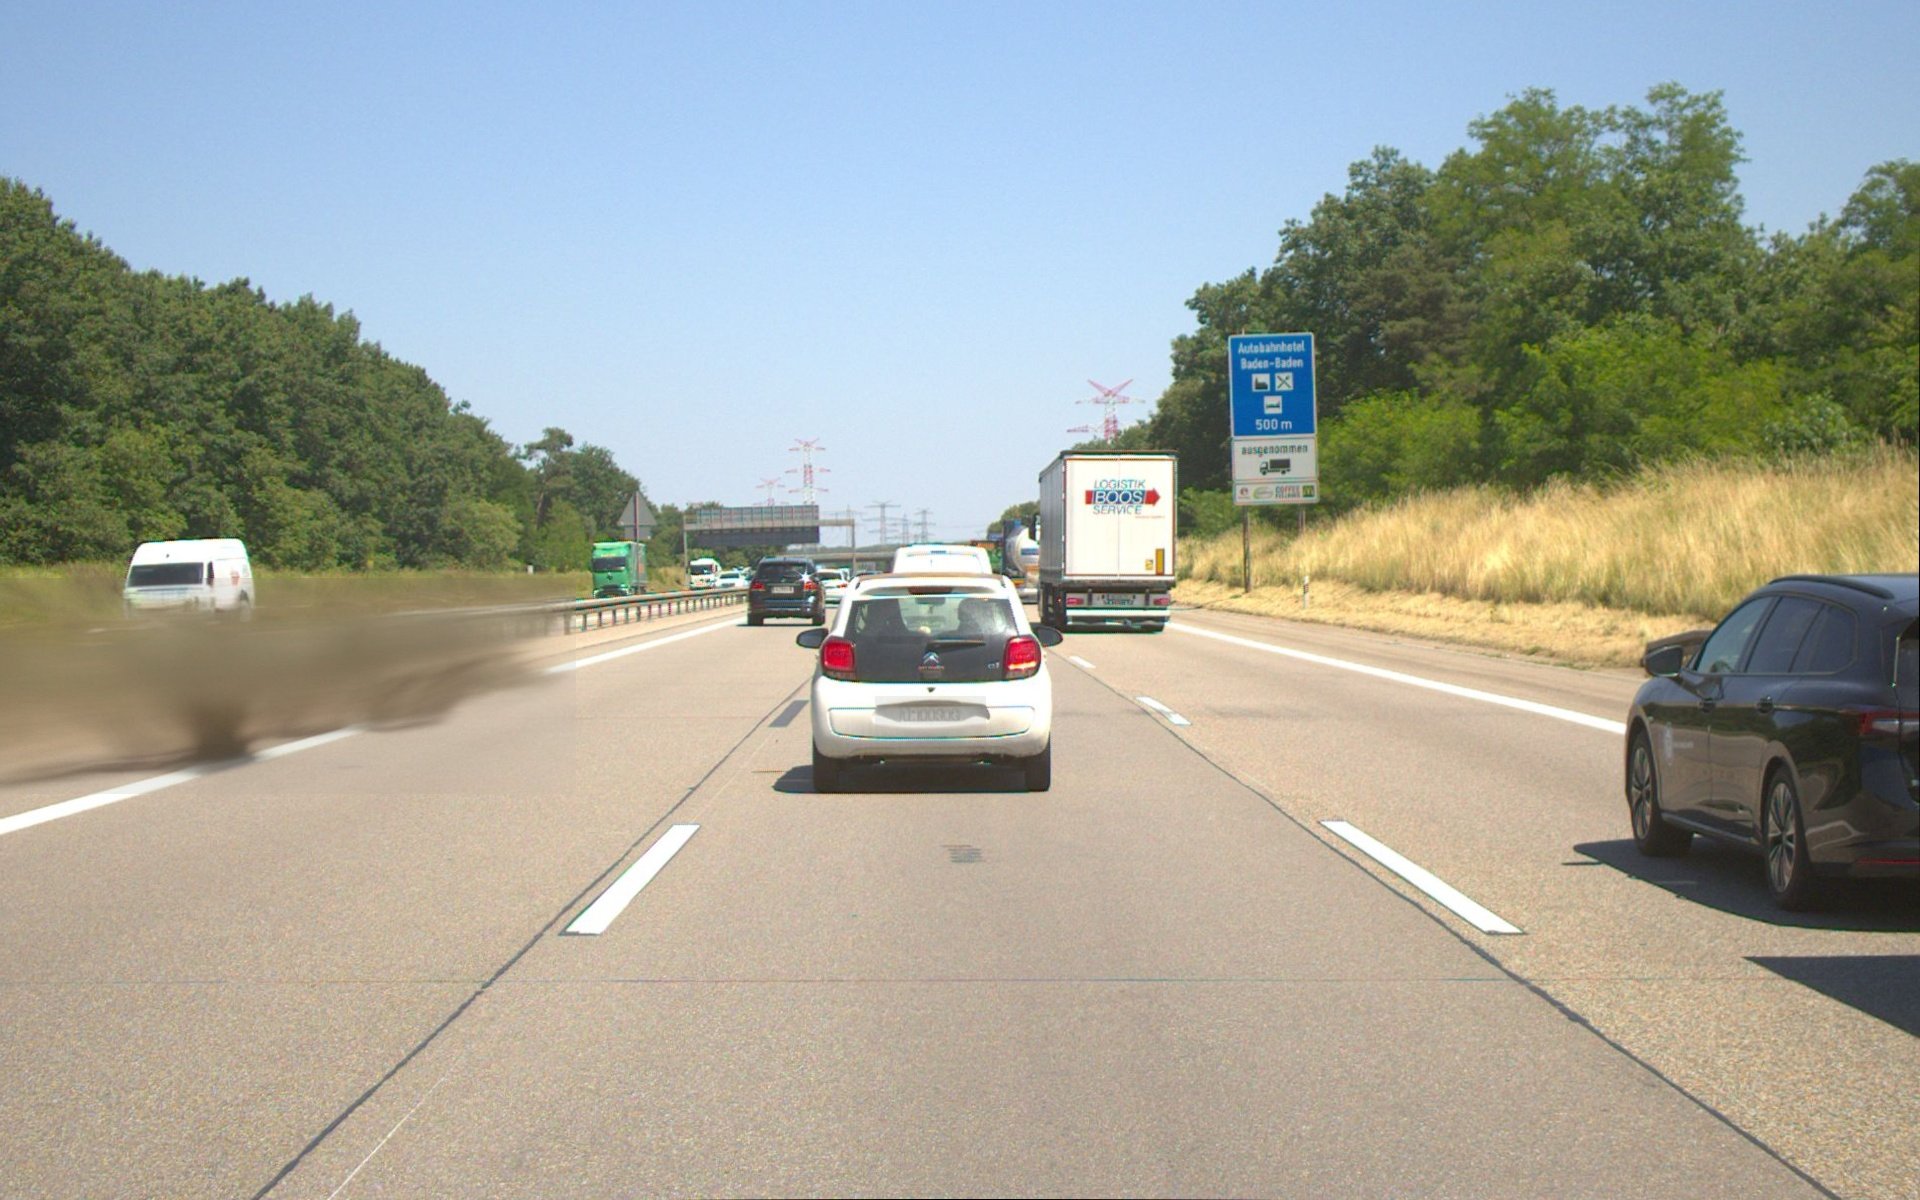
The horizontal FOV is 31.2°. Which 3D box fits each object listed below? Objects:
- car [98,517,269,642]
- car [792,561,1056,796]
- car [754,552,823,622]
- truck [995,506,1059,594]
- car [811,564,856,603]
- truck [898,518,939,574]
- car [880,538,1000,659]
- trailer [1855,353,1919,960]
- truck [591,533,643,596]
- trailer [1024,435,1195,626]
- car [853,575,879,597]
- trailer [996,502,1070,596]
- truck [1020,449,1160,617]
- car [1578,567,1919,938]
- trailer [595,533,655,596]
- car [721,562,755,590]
[{"bbox_3d":[-17.956,-0.517,79.926,2.165,2.616,7.544,-4,1,-1],"label":"car"},{"bbox_3d":[-0.254,0.489,24.386,1.708,1.490,4.024,-1,1,-1],"label":"car"},{"bbox_3d":[-4.441,-0.363,89.277,1.626,1.749,3.805,-1,1,-1],"label":"car"},{"bbox_3d":[2.933,-2.205,152.145,2.682,3.824,4.444,0,0,-1],"label":"truck"},{"bbox_3d":[-4.849,-0.655,131.611,1.669,1.396,3.713,-2,1,-2],"label":"car"},{"bbox_3d":[-2.238,-2.848,182.422,2.060,2.904,7.003,-1,1,-1],"label":"truck"},{"bbox_3d":[-0.353,-0.044,55.566,1.814,1.821,5.111,-1,1,-1],"label":"car"},{"bbox_3d":[4.487,0.223,11.831,1.703,2.282,3.840,0,1,-2],"label":"trailer"},{"bbox_3d":[-23.521,-2.447,235.946,2.700,4.147,6.297,-4,1,-1],"label":"truck"},{"bbox_3d":[3.433,-1.600,82.752,3.286,4.205,13.566,0,1,-1],"label":"trailer"},{"bbox_3d":[-5.951,-0.890,217.931,1.607,1.296,3.674,-1,1,-1],"label":"car"},{"bbox_3d":[3.029,-2.153,146.444,2.682,3.824,12.011,0,1,-1],"label":"trailer"},{"bbox_3d":[3.298,-1.699,89.010,3.286,4.205,6.008,0,0,-1],"label":"truck"},{"bbox_3d":[4.318,0.589,16.176,1.821,1.451,4.789,0,1,-2],"label":"car"},{"bbox_3d":[-23.597,-2.518,242.615,2.704,4.147,14.339,-4,1,-1],"label":"trailer"},{"bbox_3d":[-15.358,-1.671,237.664,1.954,1.786,5.562,-4,1,-1],"label":"car"}]
